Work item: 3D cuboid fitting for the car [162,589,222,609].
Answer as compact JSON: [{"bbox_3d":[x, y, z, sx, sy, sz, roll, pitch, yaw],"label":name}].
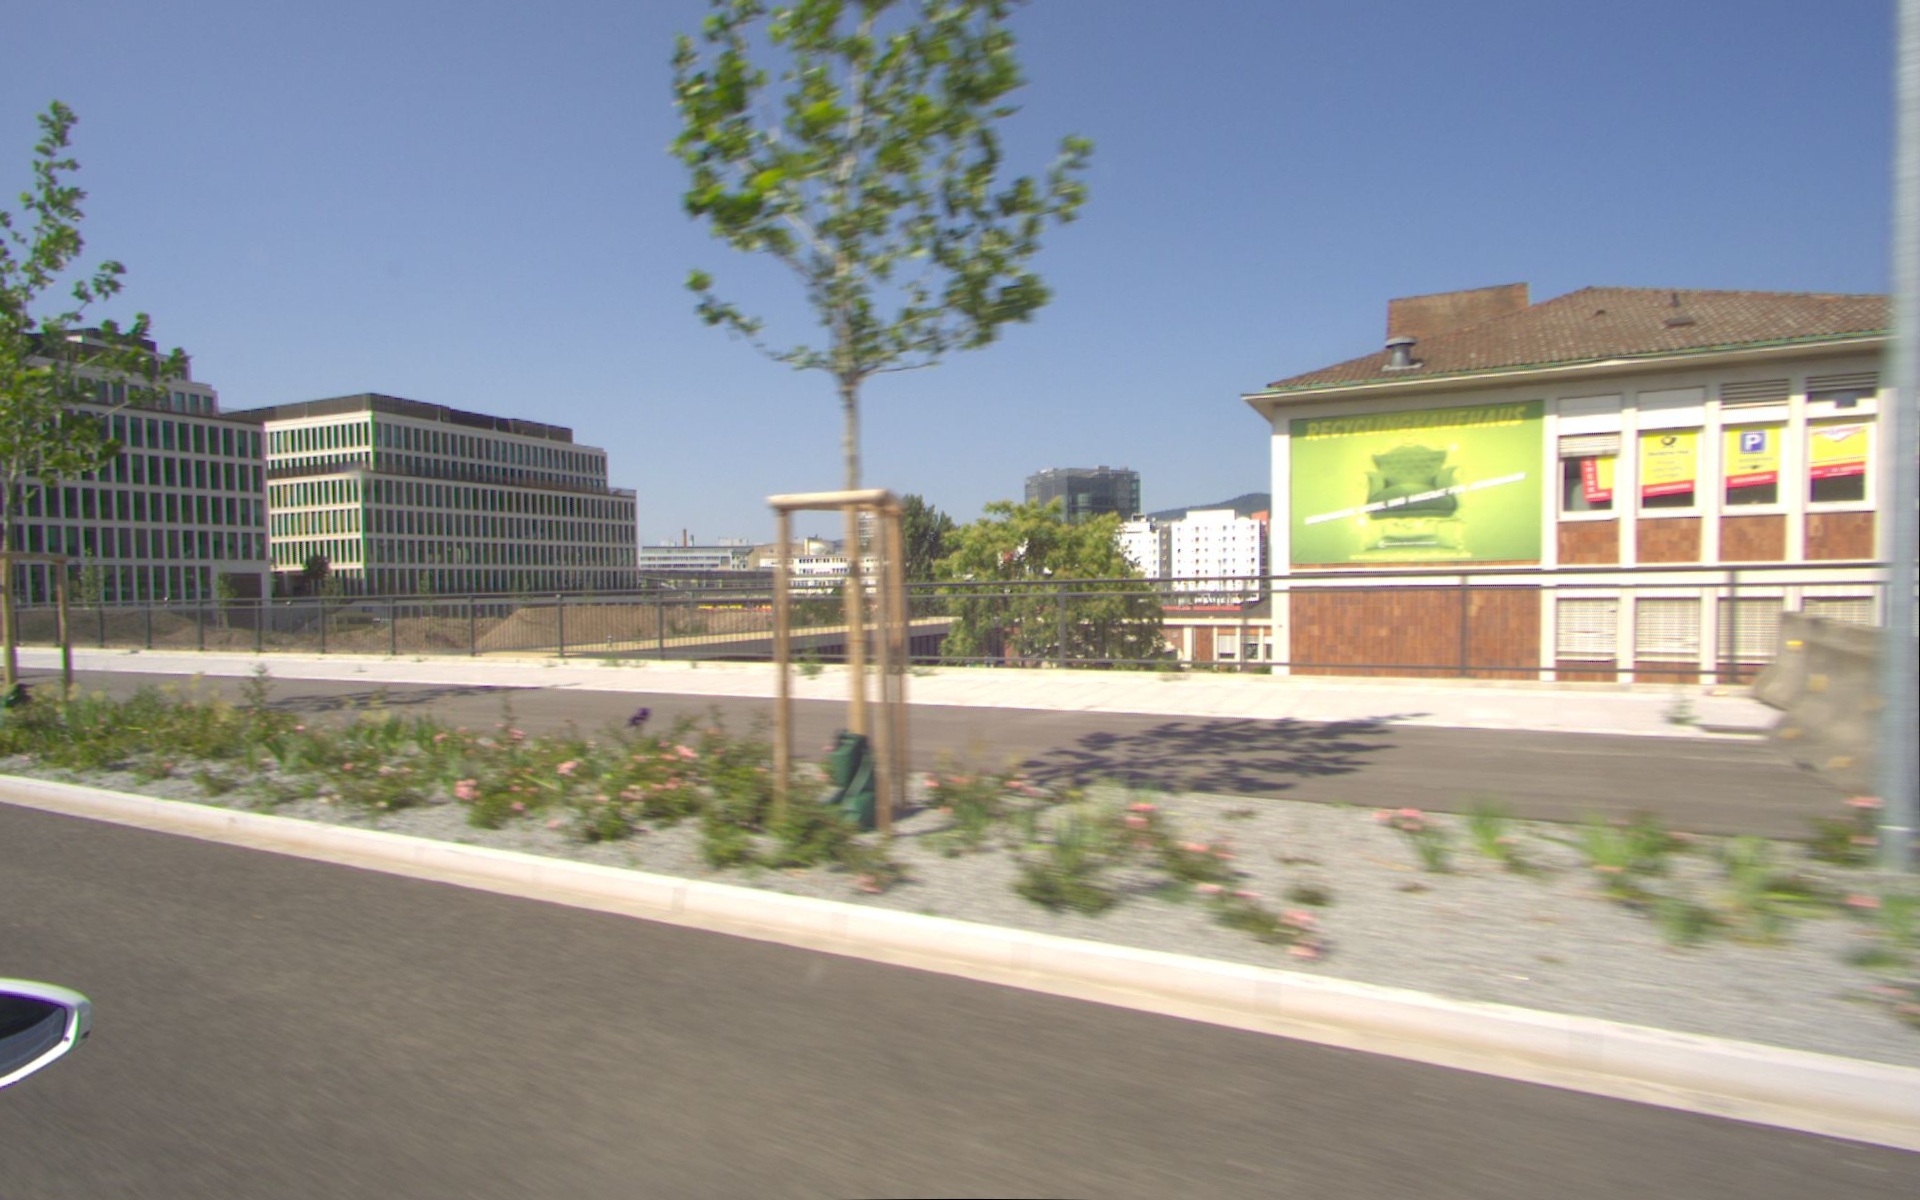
[{"bbox_3d":[-65.466,-0.094,85.401,1.631,1.615,3.678,0,0,28],"label":"car"}]
